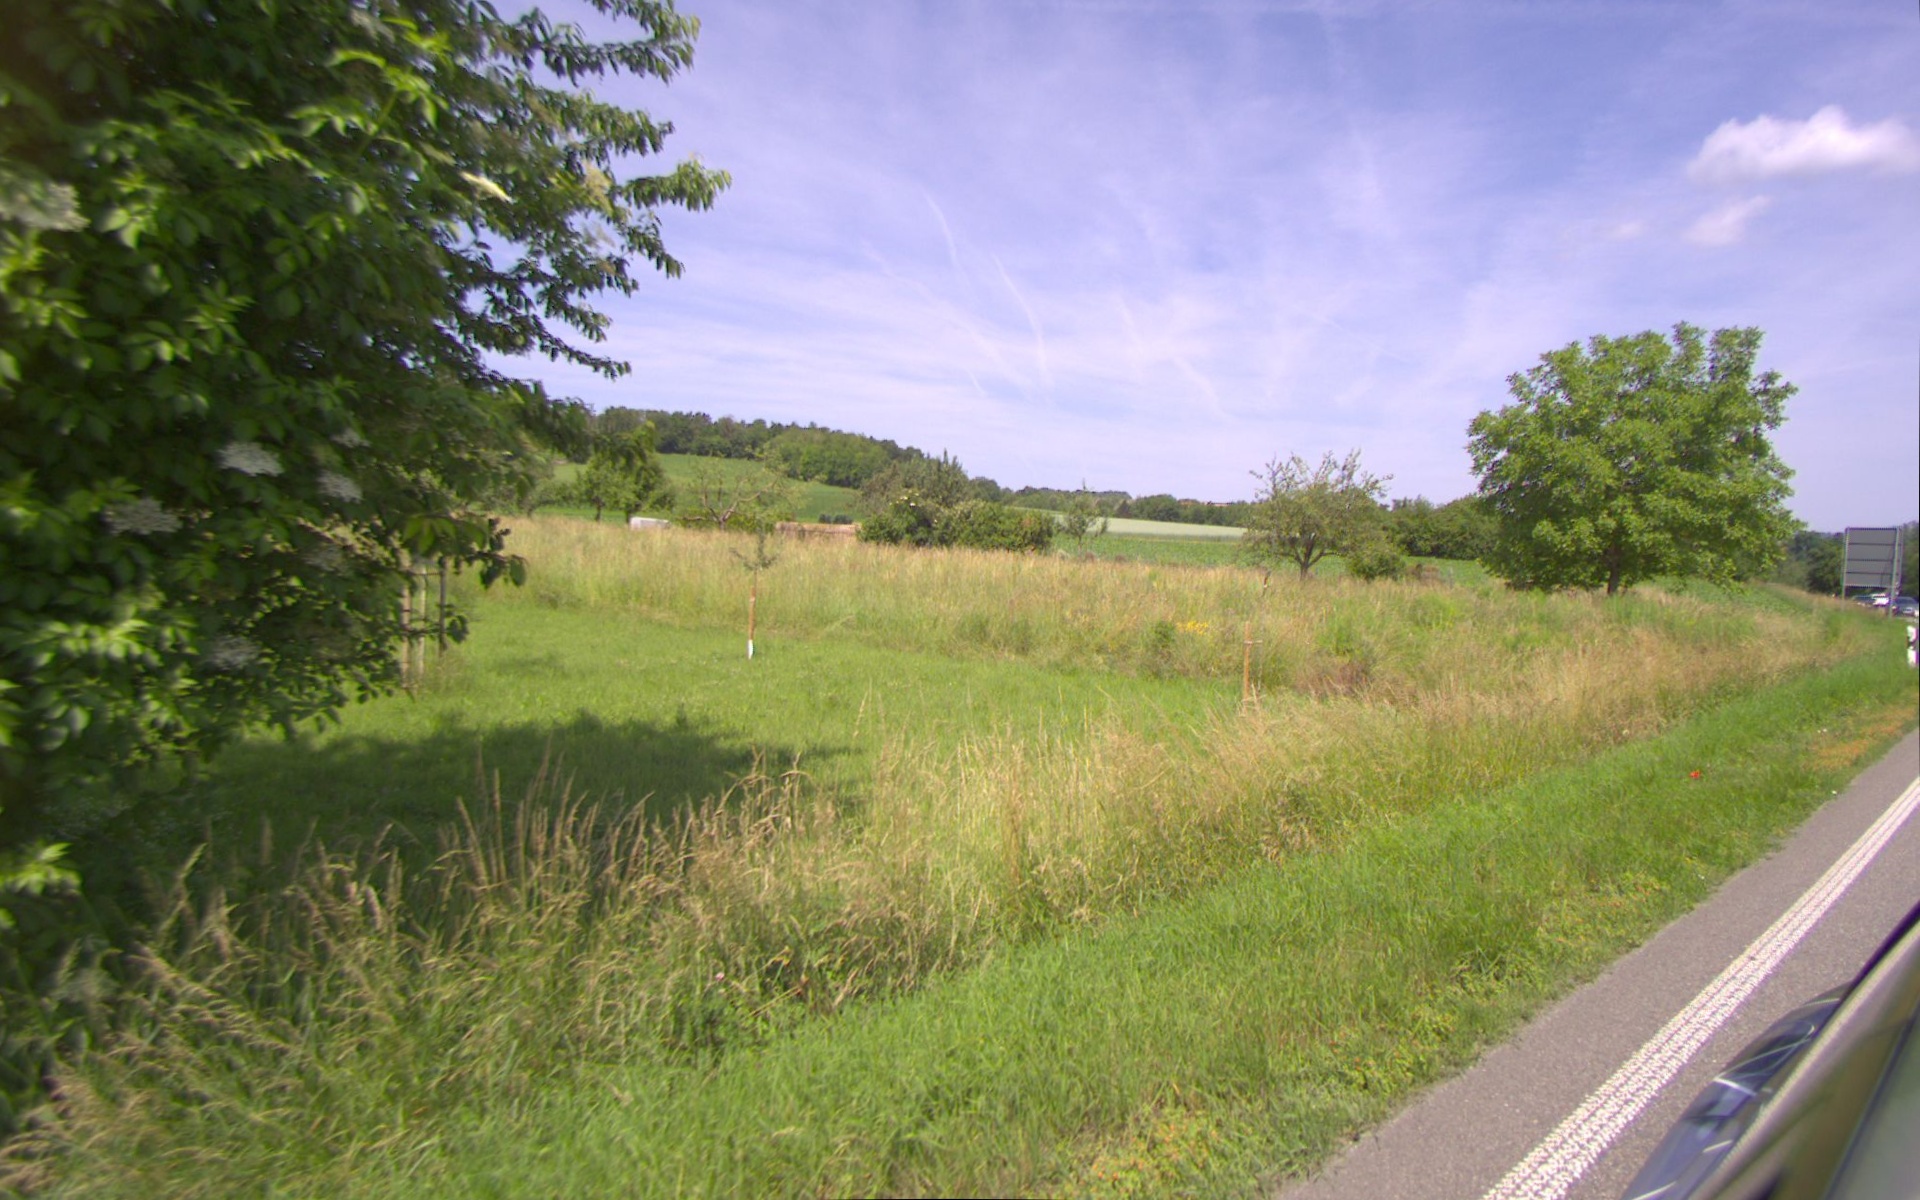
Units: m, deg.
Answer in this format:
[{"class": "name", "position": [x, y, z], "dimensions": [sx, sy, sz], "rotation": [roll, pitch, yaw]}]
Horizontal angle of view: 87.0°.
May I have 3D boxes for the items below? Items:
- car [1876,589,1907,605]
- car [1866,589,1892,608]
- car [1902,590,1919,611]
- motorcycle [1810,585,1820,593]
[{"class": "car", "position": [101.941, -0.336, 110.779], "dimensions": [1.783, 1.540, 4.112], "rotation": [3, 2, 32]}, {"class": "car", "position": [87.430, -0.193, 96.334], "dimensions": [1.660, 1.670, 3.942], "rotation": [2, 3, 40]}, {"class": "car", "position": [74.136, 0.027, 78.152], "dimensions": [1.819, 1.538, 3.940], "rotation": [3, 3, 41]}, {"class": "motorcycle", "position": [118.885, -1.530, 140.778], "dimensions": [0.754, 1.006, 2.253], "rotation": [3, 2, 32]}]
